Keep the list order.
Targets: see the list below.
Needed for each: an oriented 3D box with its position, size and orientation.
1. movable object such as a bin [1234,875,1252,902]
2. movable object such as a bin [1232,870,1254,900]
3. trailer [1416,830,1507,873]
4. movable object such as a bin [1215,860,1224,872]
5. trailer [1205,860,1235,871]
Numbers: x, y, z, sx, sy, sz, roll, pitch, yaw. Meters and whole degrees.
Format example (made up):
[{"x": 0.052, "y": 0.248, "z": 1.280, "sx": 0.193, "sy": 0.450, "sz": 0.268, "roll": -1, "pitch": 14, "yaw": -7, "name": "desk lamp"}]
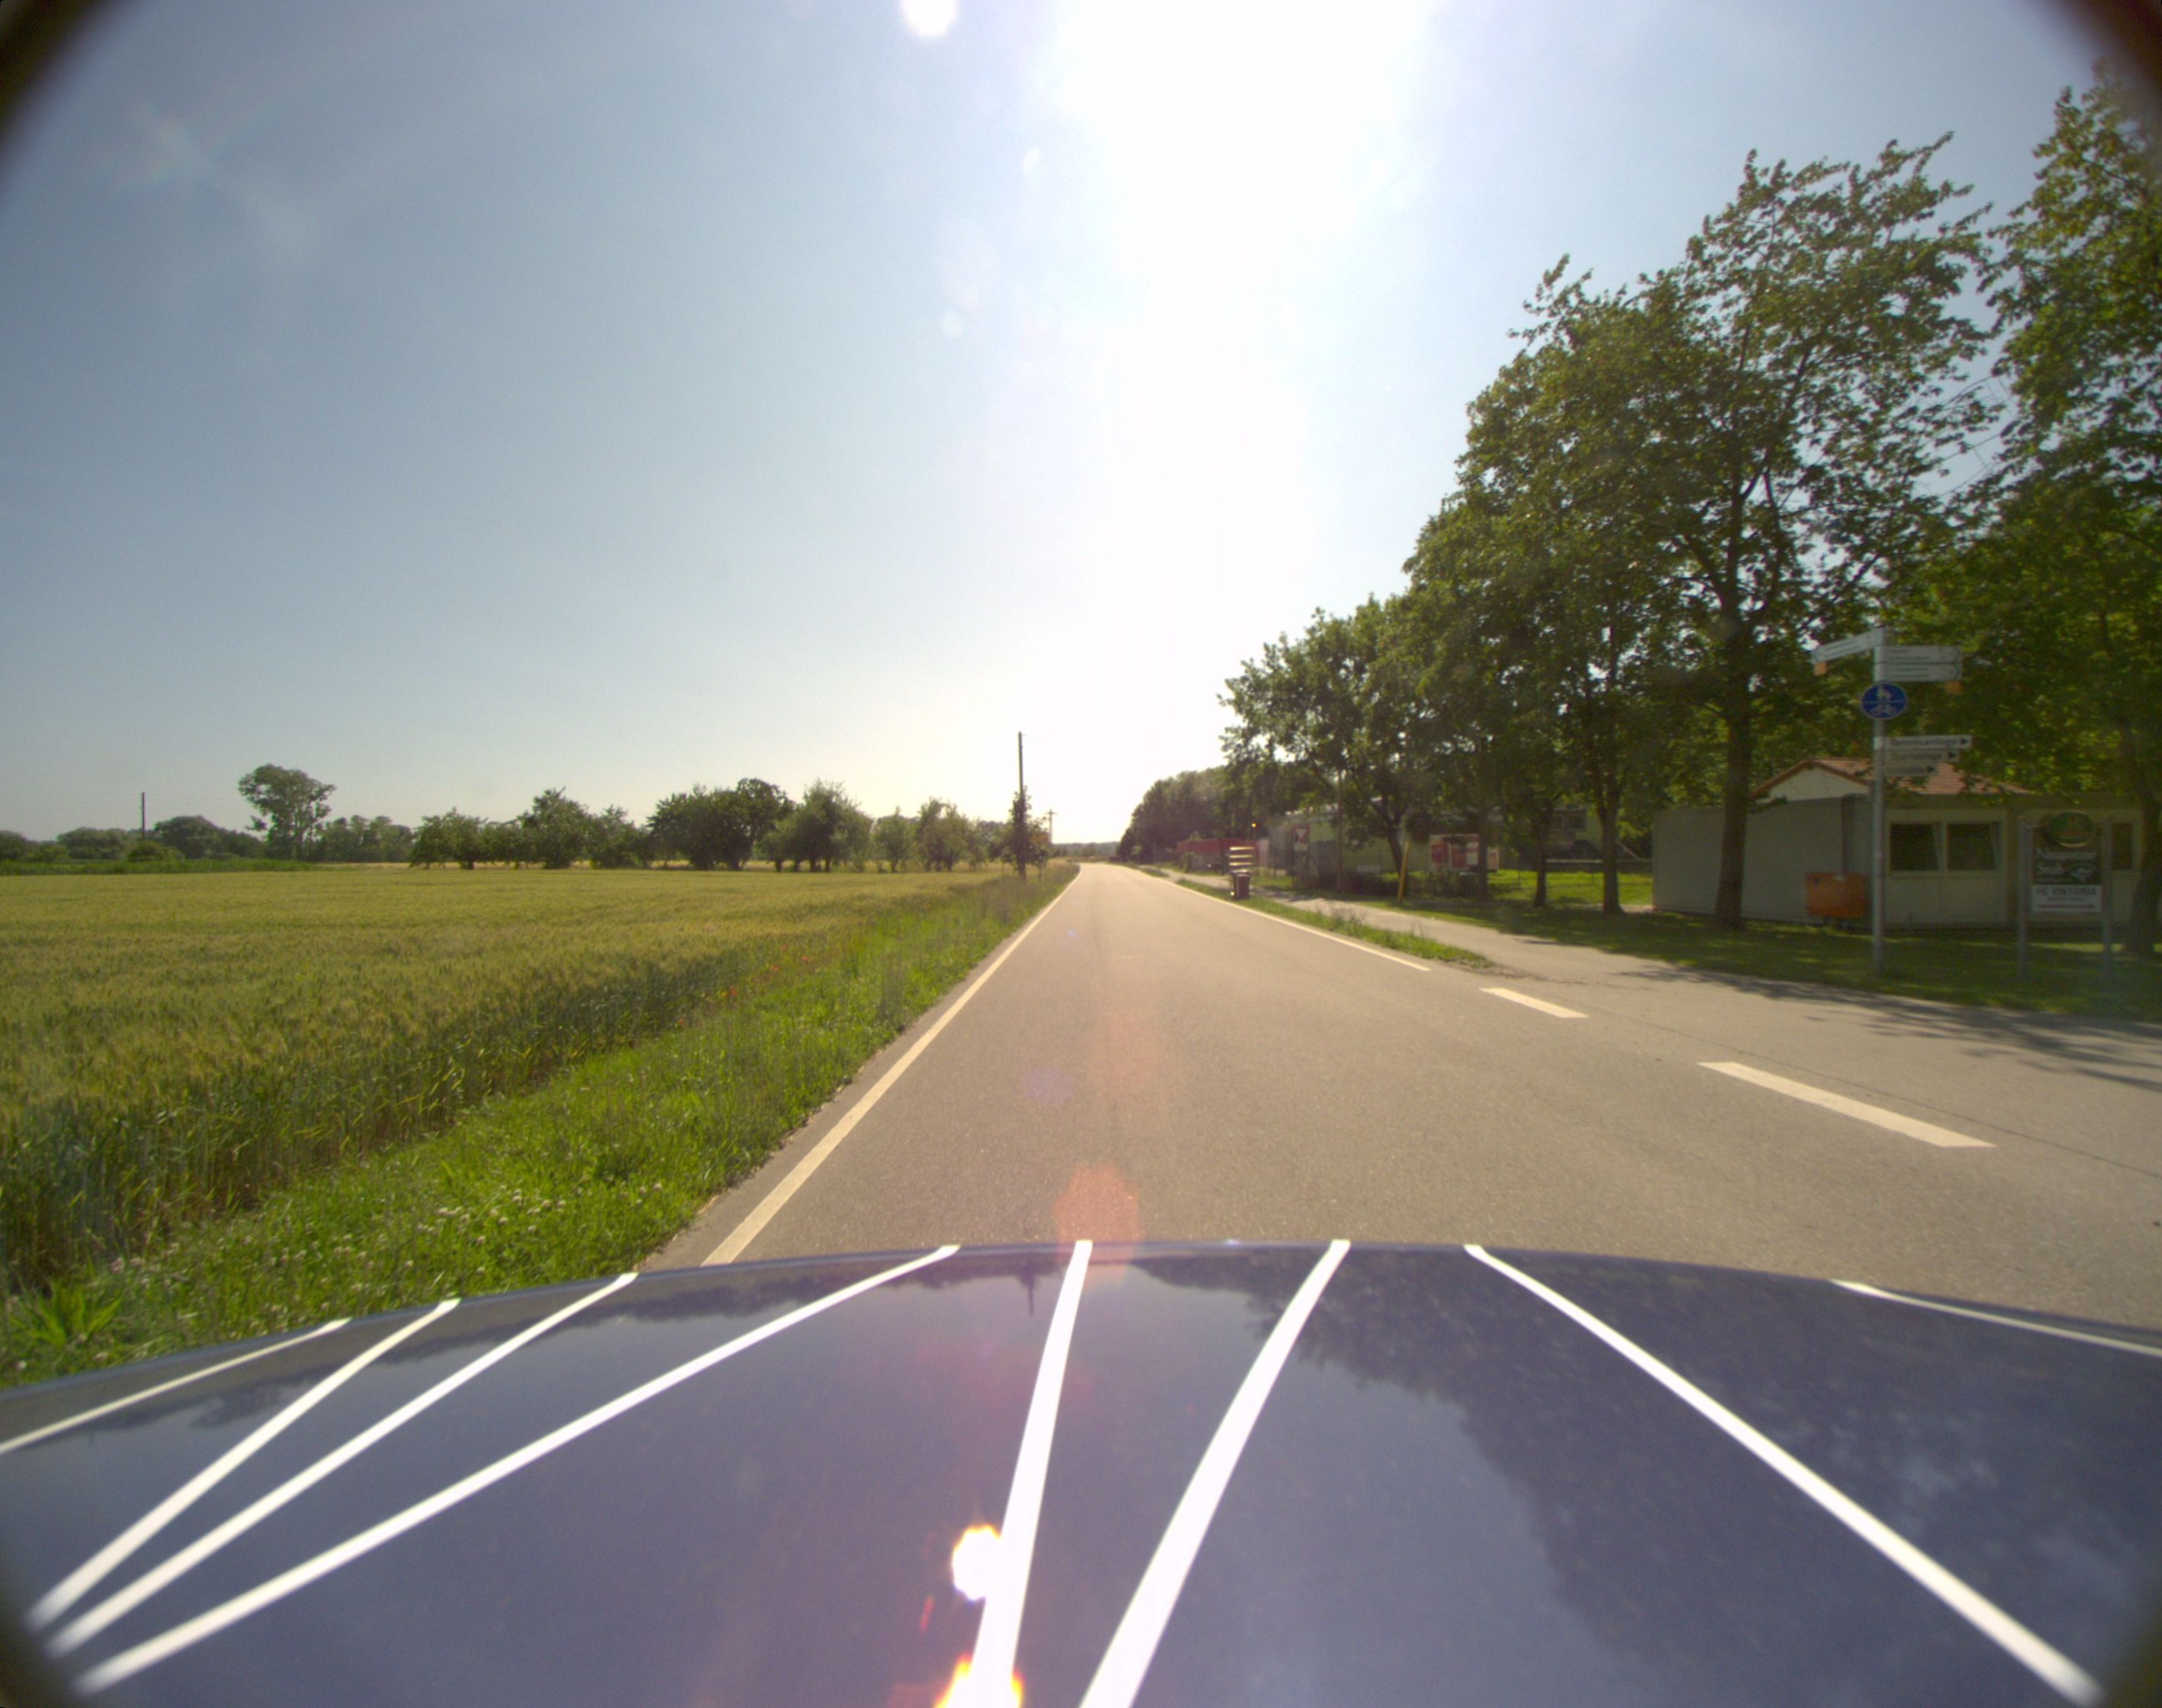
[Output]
[{"x": 5.409, "y": 1.144, "z": 25.396, "sx": 0.563, "sy": 0.872, "sz": 0.614, "roll": 0, "pitch": 0, "yaw": 9, "name": "movable object such as a bin"}, {"x": 5.576, "y": 1.064, "z": 26.162, "sx": 0.700, "sy": 1.018, "sz": 0.748, "roll": 0, "pitch": 0, "yaw": 9, "name": "movable object such as a bin"}, {"x": 20.868, "y": -0.138, "z": 41.758, "sx": 4.239, "sy": 2.264, "sz": 1.826, "roll": 0, "pitch": 0, "yaw": -12, "name": "trailer"}, {"x": 10.591, "y": 0.922, "z": 58.313, "sx": 0.640, "sy": 0.849, "sz": 0.654, "roll": 0, "pitch": 0, "yaw": 7, "name": "movable object such as a bin"}, {"x": 11.279, "y": 0.928, "z": 61.806, "sx": 1.635, "sy": 0.861, "sz": 3.356, "roll": 0, "pitch": 0, "yaw": -5, "name": "trailer"}]
